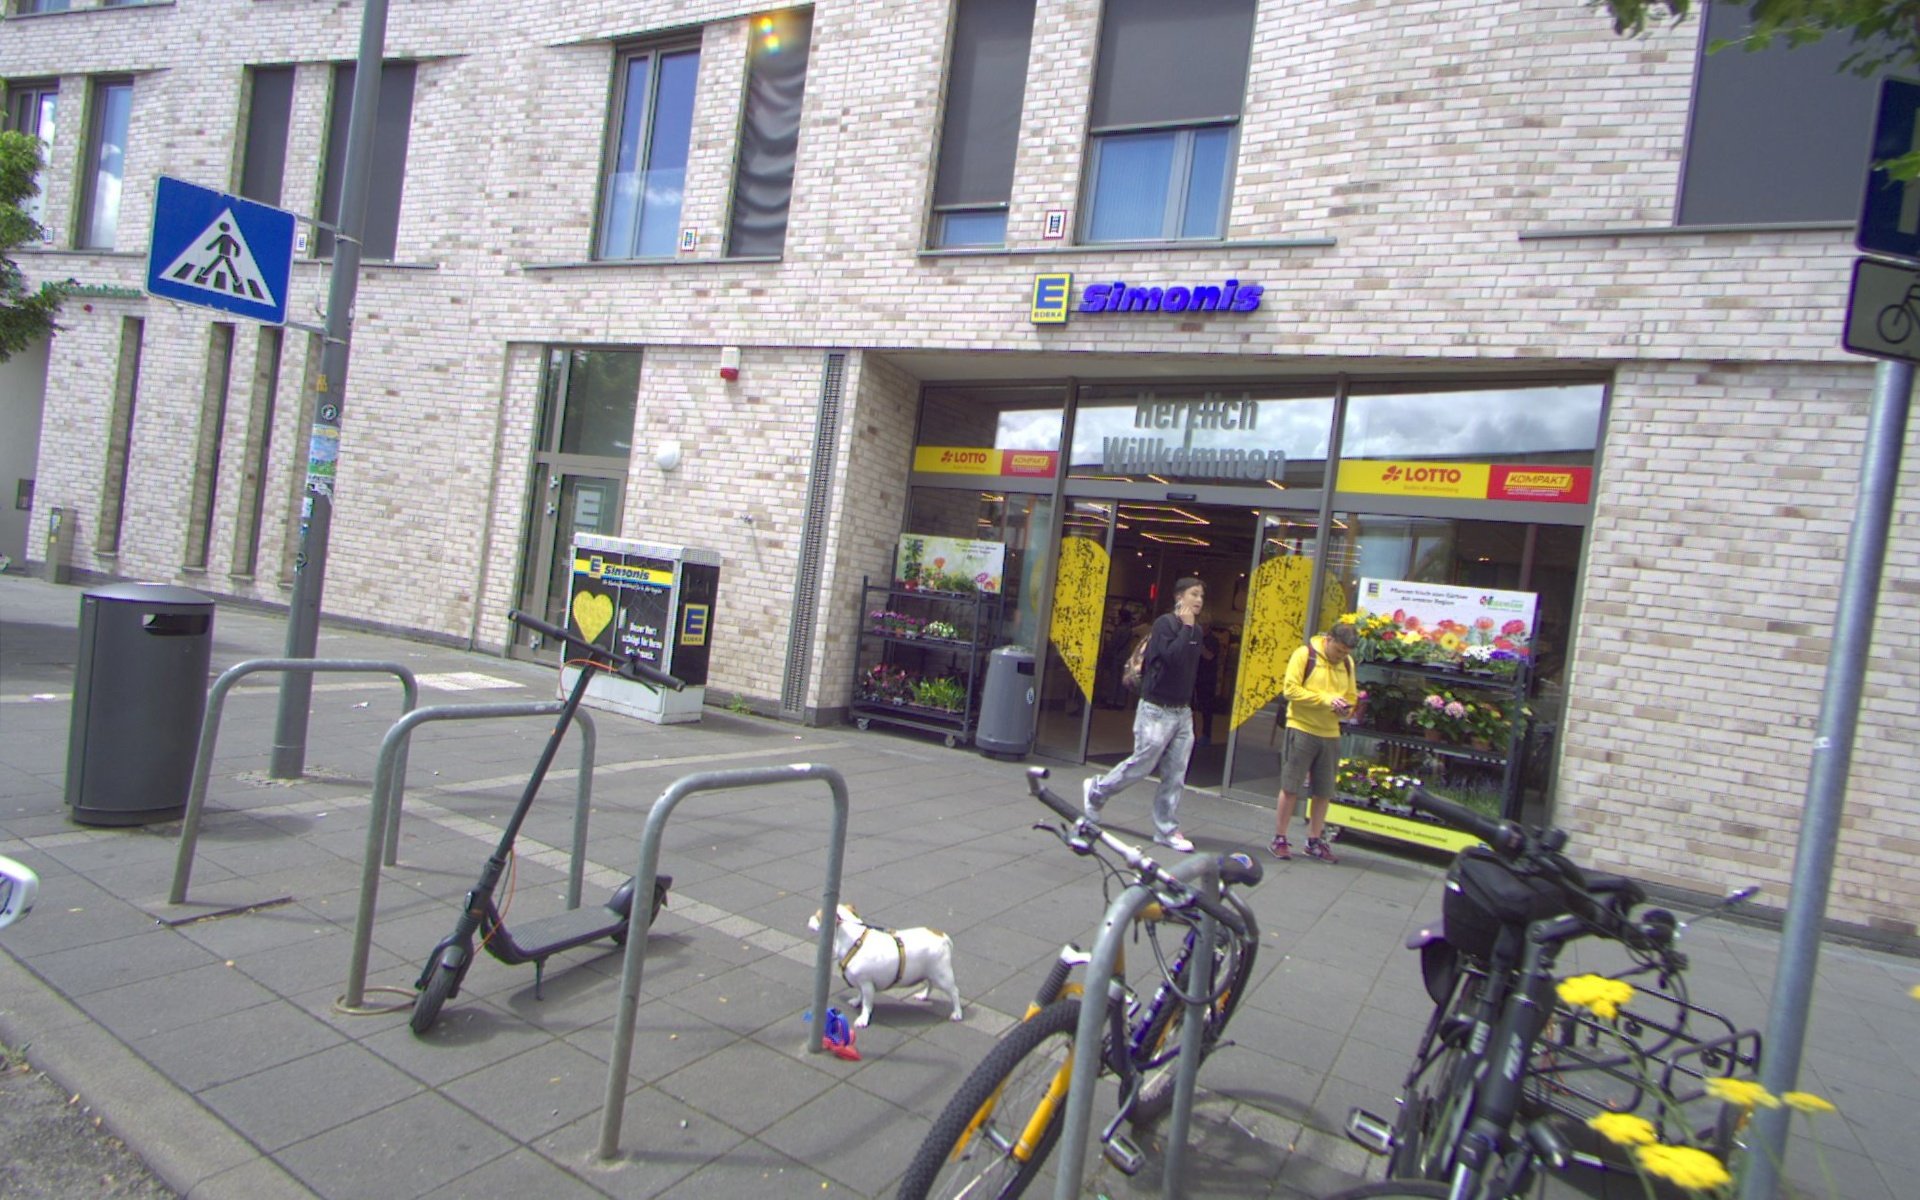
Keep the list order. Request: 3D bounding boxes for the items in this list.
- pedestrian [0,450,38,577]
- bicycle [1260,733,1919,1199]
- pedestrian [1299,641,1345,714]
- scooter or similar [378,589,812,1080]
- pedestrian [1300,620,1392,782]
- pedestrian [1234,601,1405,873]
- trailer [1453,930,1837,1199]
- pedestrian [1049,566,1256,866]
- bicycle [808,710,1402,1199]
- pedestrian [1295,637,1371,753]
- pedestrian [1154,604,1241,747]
[{"bbox_3d":[-14.059,-1.283,14.501,0.743,1.789,0.735,6,1,11],"label":"pedestrian"},{"bbox_3d":[1.222,0.991,2.060,0.744,1.216,1.824,7,1,31],"label":"bicycle"},{"bbox_3d":[8.307,1.773,23.053,0.696,1.580,0.681,7,1,32],"label":"pedestrian"},{"bbox_3d":[-1.116,0.655,3.293,0.485,1.265,1.197,7,1,31],"label":"scooter or similar"},{"bbox_3d":[4.480,1.155,11.657,0.728,1.747,0.661,6,-1,32],"label":"pedestrian"},{"bbox_3d":[2.419,0.912,6.812,0.651,1.714,0.628,6,1,-25],"label":"pedestrian"},{"bbox_3d":[1.987,1.421,2.982,0.799,0.535,0.720,7,-1,35],"label":"trailer"},{"bbox_3d":[1.280,0.725,6.687,1.001,1.763,0.658,7,1,31],"label":"pedestrian"},{"bbox_3d":[0.521,0.937,2.535,0.744,1.146,1.824,7,1,31],"label":"bicycle"},{"bbox_3d":[5.477,1.374,14.795,0.695,1.580,0.683,7,1,3],"label":"pedestrian"},{"bbox_3d":[3.035,0.958,12.835,0.650,1.714,0.679,8,1,42],"label":"pedestrian"}]
